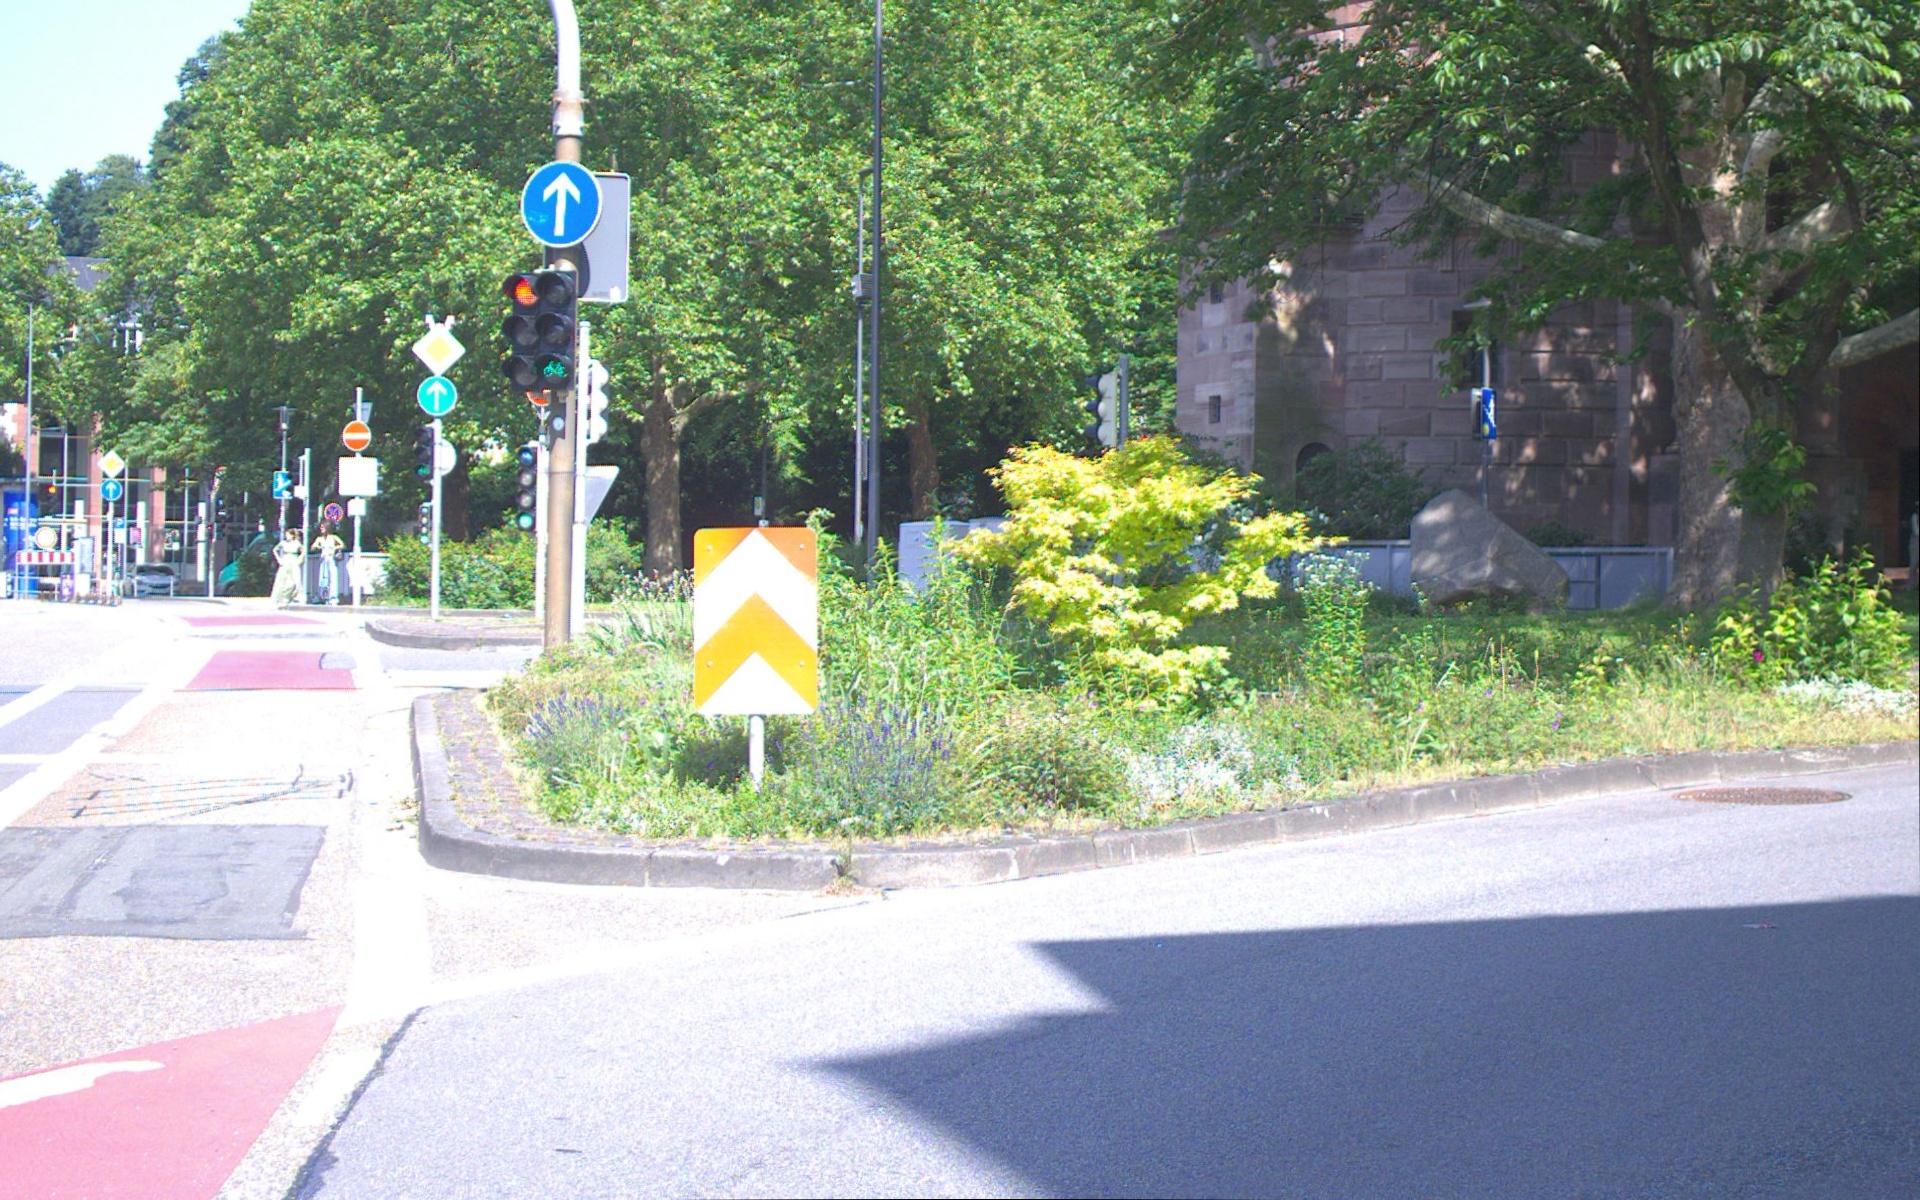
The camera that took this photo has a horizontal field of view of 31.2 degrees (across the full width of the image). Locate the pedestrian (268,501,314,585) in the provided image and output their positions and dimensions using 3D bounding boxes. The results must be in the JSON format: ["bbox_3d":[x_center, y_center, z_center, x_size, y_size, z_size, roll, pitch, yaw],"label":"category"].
[{"bbox_3d":[-13.705,-1.172,70.431,0.761,1.713,0.795,0,2,-1],"label":"pedestrian"}]

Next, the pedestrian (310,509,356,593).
[{"bbox_3d":[-12.882,-1.017,70.636,0.761,1.702,0.878,0,2,-1],"label":"pedestrian"}]

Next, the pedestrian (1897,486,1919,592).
[{"bbox_3d":[16.429,-1.038,58.189,0.792,1.775,0.876,-1,2,-13],"label":"pedestrian"}]

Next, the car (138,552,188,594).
[{"bbox_3d":[-29.850,-1.027,128.819,1.730,1.509,3.623,-1,2,-12],"label":"car"}]

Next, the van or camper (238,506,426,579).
[{"bbox_3d":[-16.853,-1.550,92.392,4.544,1.895,1.999,0,2,10],"label":"van or camper"}]
